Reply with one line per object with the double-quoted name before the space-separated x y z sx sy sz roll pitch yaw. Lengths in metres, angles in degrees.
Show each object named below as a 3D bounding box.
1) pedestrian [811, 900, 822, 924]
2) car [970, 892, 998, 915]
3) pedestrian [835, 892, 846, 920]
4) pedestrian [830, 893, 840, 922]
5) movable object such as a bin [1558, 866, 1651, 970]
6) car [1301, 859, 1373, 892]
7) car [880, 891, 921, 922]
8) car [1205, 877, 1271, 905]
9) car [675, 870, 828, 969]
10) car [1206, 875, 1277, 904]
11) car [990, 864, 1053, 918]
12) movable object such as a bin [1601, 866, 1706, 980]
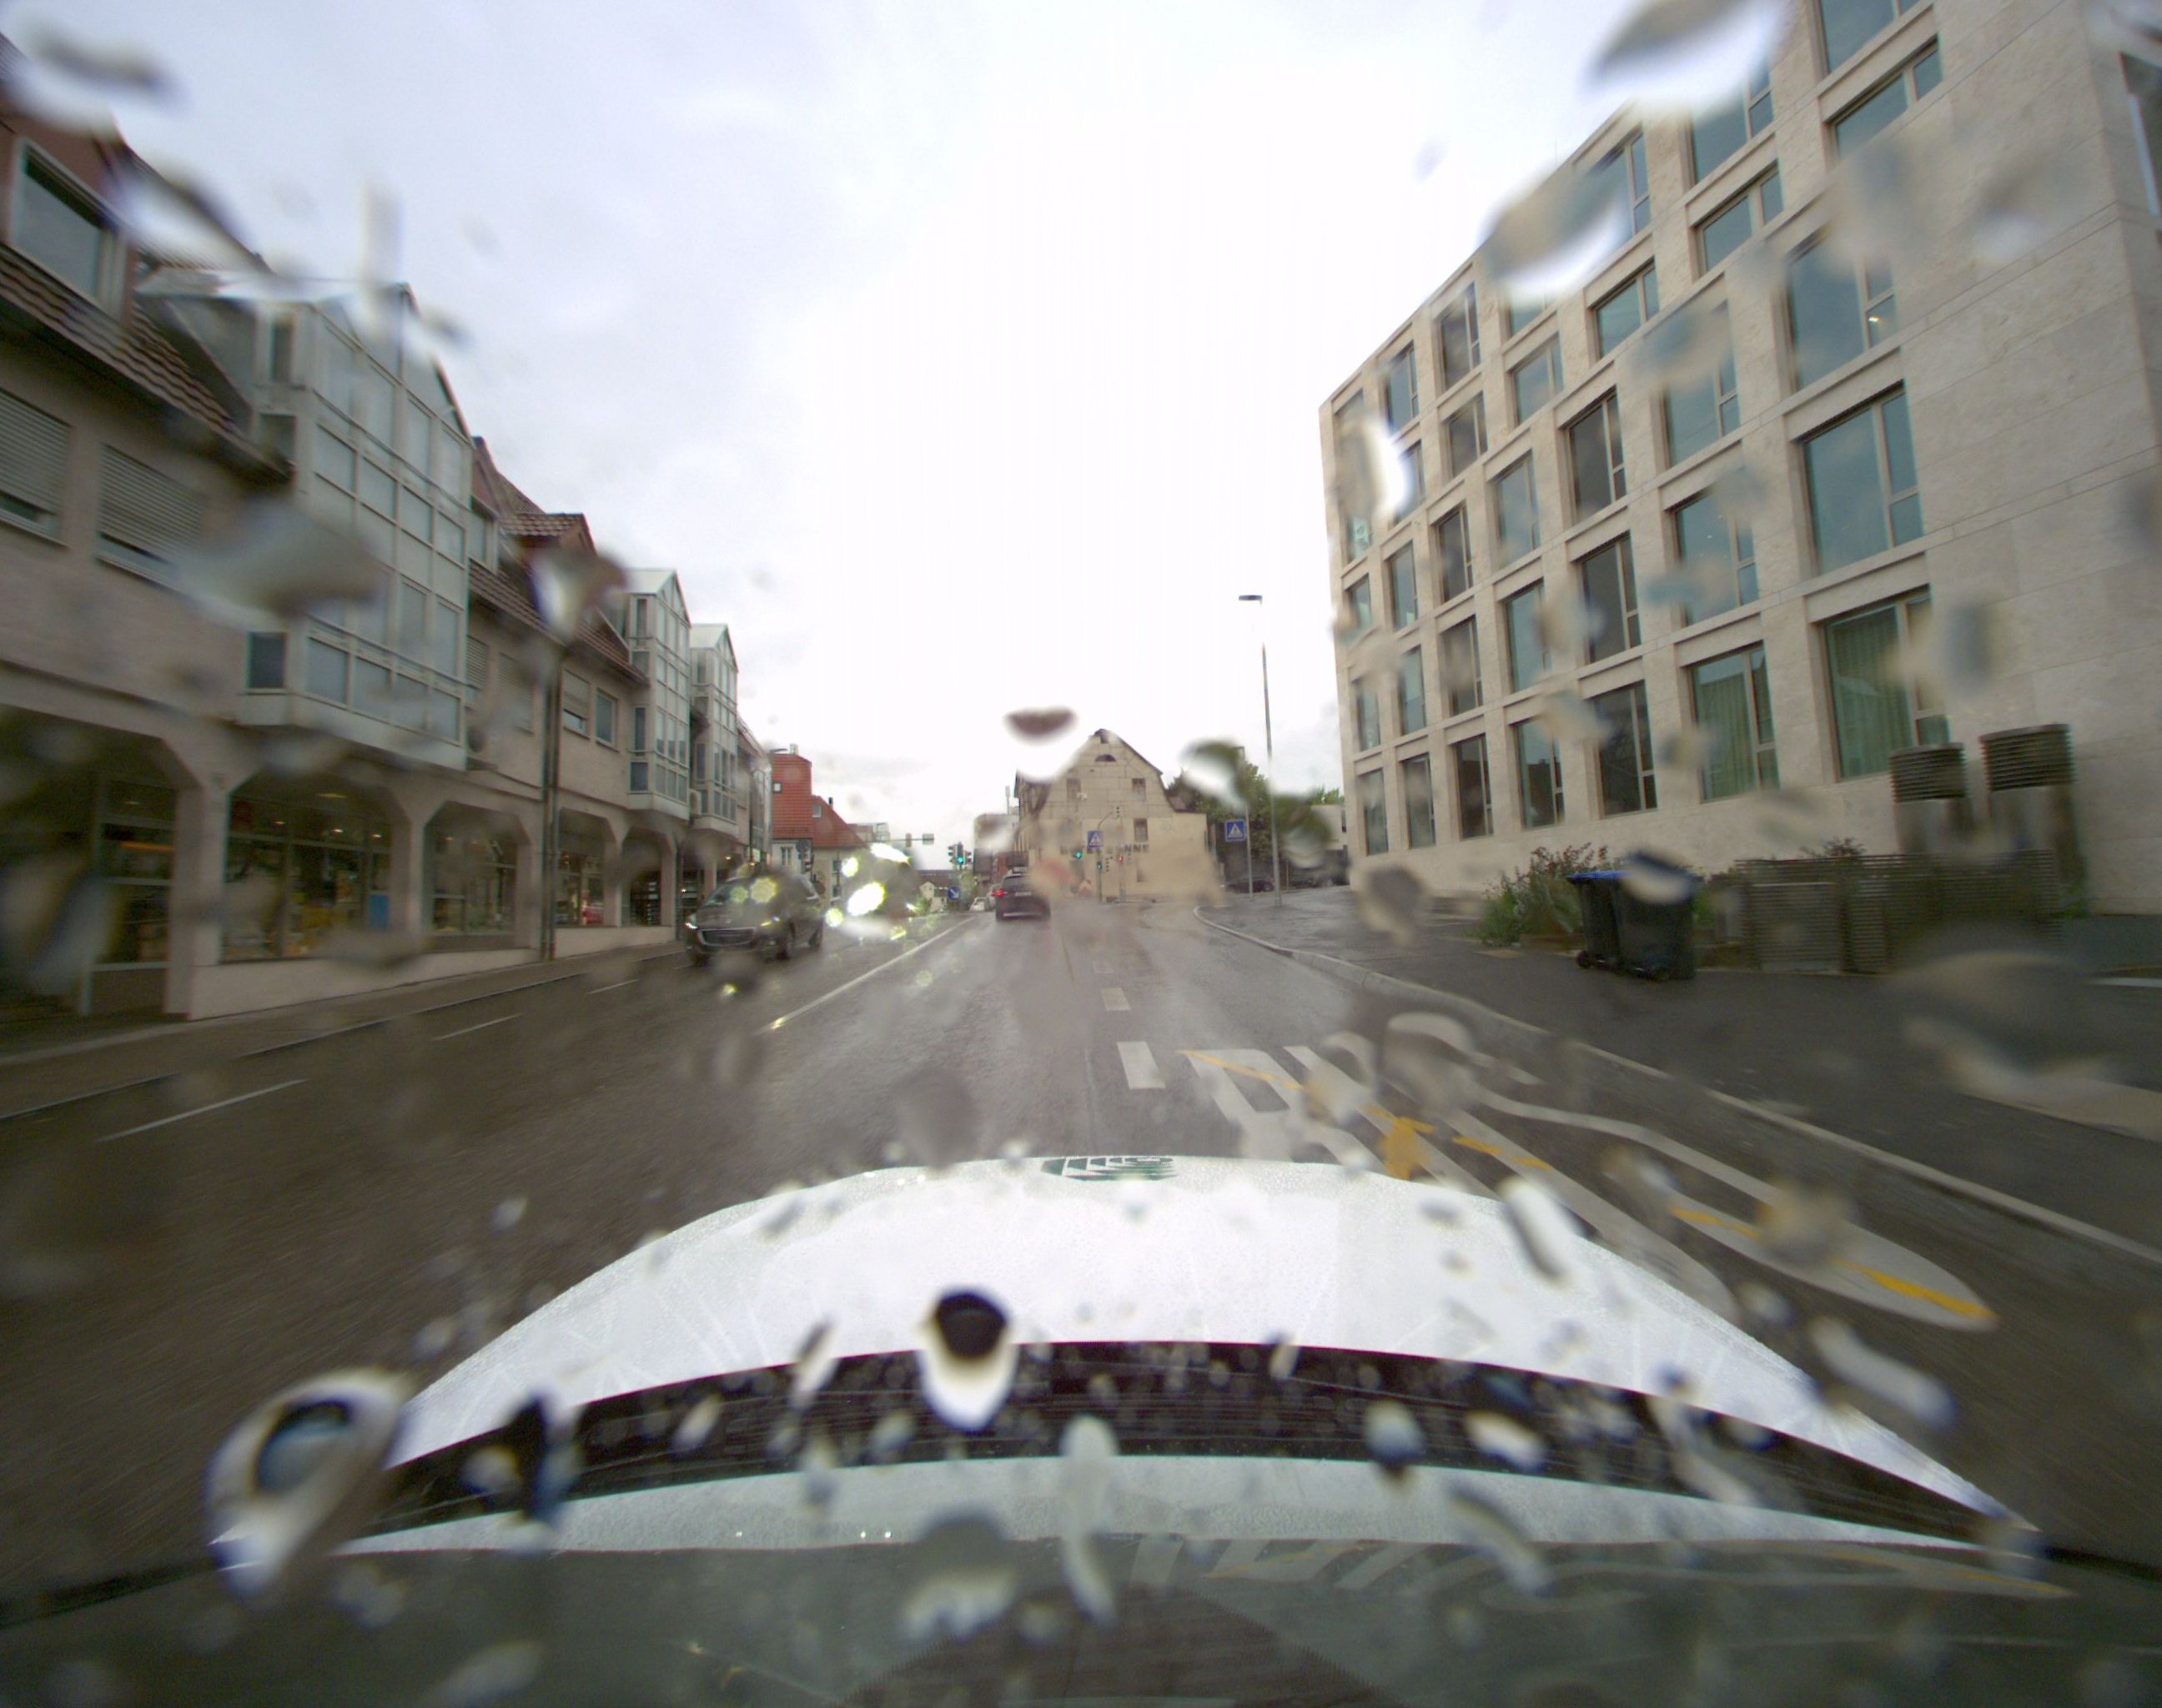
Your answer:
"pedestrian" -17.817 3.881 54.885 0.594 1.559 0.630 -3 -3 -17
"car" -7.169 3.610 60.003 1.886 1.467 3.989 -4 -1 -8
"pedestrian" -16.763 3.618 56.747 0.604 1.868 0.744 -3 -3 -17
"pedestrian" -16.544 3.604 54.673 0.536 1.871 0.630 -3 -3 -17
"movable object such as a bin" 5.665 0.672 8.836 0.593 1.062 0.579 -3 -1 0
"car" 17.741 1.497 56.438 4.309 1.816 1.769 -4 -6 -15
"car" -10.226 2.953 46.397 1.886 1.467 3.989 -4 -1 -8
"car" 11.155 2.622 57.863 4.179 1.519 1.769 -4 -6 -15
"car" -6.435 1.184 16.432 1.781 1.630 4.205 -2 -1 -7
"car" 10.821 2.373 54.946 4.311 1.505 1.768 -4 -6 -16
"car" -1.950 1.186 27.738 1.940 1.567 4.413 -2 0 -2
"movable object such as a bin" 5.690 0.670 8.122 0.593 1.062 0.579 -3 -1 0
